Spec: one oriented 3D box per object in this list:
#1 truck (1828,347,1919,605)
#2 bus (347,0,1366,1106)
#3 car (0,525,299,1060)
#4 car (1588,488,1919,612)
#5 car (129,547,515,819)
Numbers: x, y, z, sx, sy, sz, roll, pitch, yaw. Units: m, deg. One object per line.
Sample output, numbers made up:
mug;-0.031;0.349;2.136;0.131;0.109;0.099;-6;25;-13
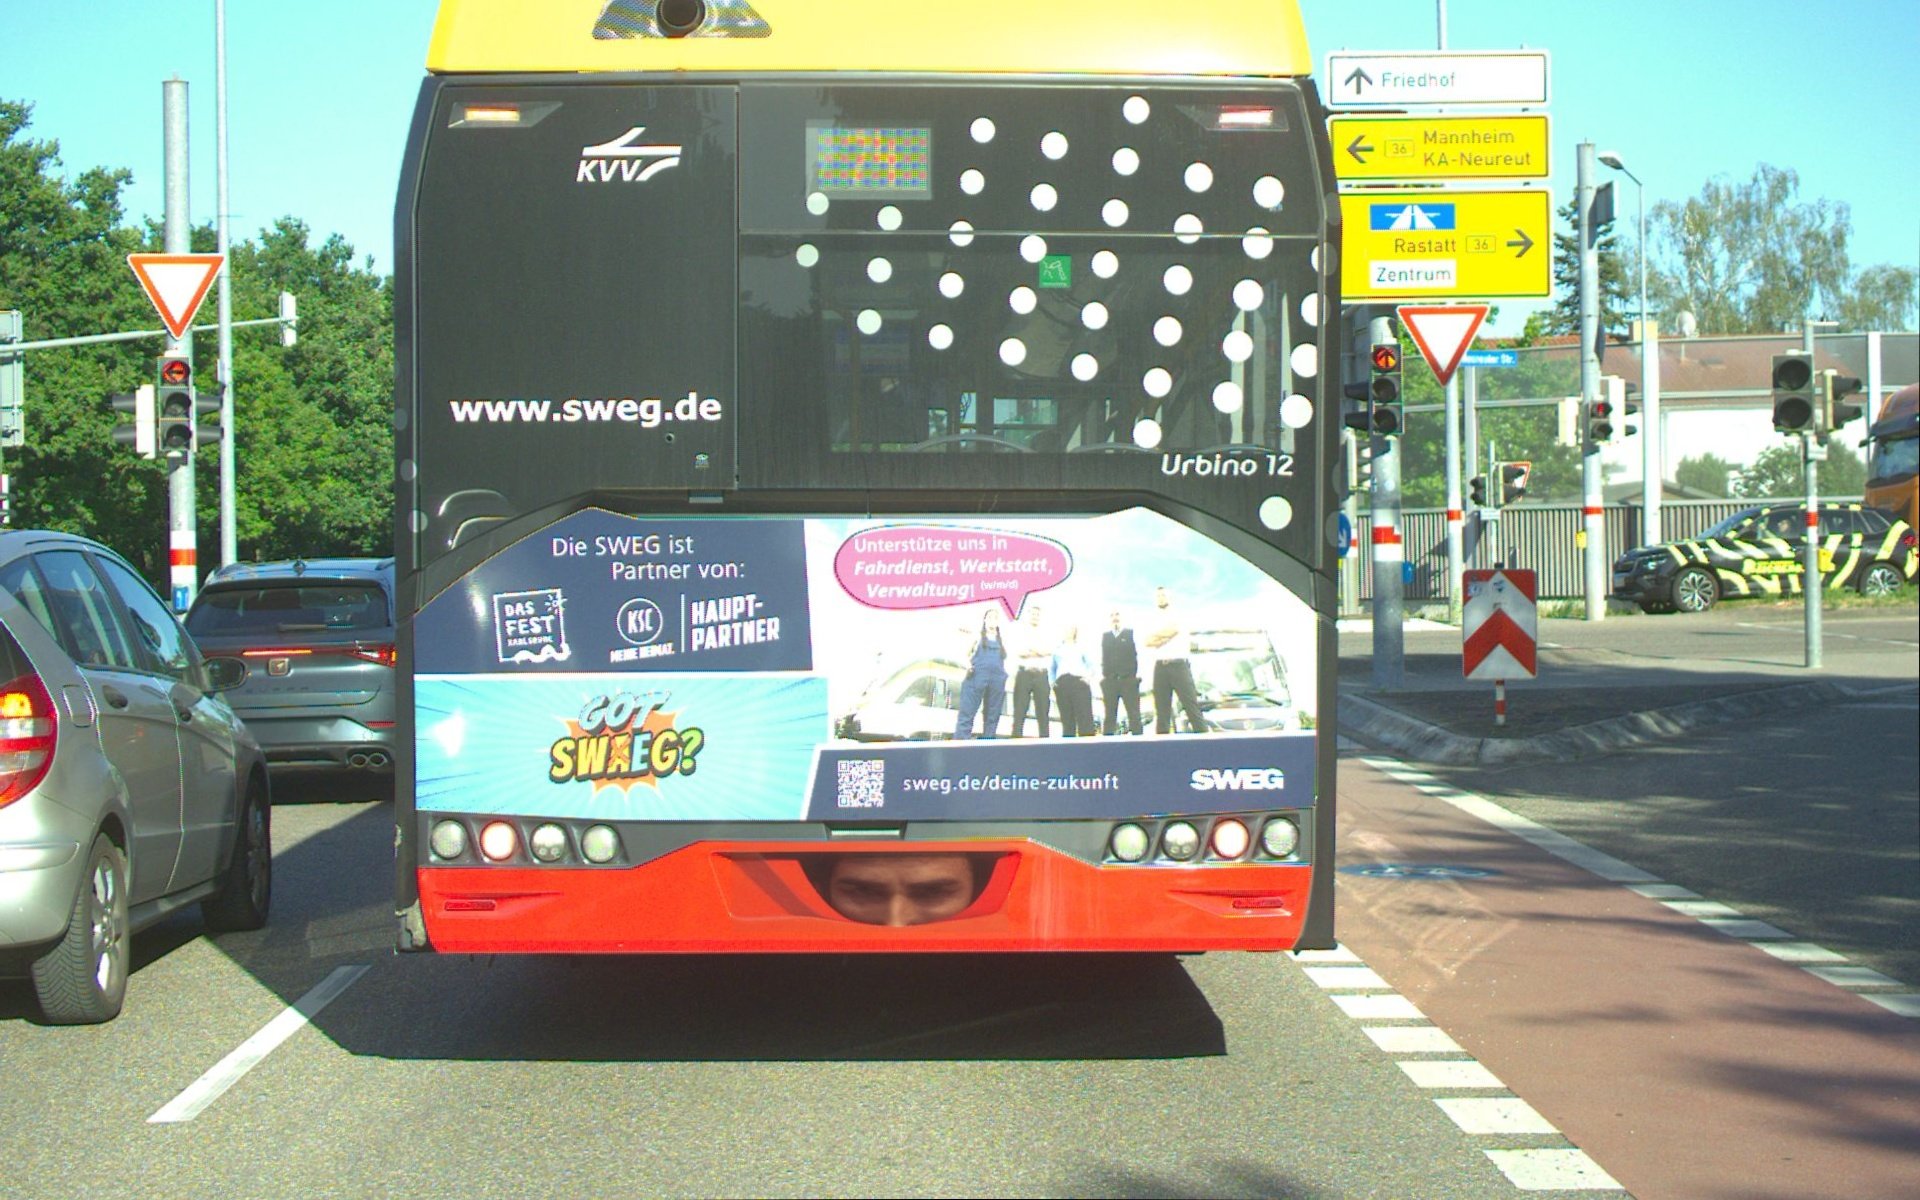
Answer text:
truck;17.839;-2.108;55.421;6.474;3.999;3.441;-3;1;-7
bus;-0.291;-0.399;14.887;2.642;3.156;11.861;0;1;0
car;-3.603;0.564;12.188;1.761;1.584;4.000;-2;1;-1
car;10.970;-0.696;47.658;4.066;1.521;1.769;-2;1;-6
car;-3.810;0.434;21.120;1.692;1.453;3.751;-2;1;-1
